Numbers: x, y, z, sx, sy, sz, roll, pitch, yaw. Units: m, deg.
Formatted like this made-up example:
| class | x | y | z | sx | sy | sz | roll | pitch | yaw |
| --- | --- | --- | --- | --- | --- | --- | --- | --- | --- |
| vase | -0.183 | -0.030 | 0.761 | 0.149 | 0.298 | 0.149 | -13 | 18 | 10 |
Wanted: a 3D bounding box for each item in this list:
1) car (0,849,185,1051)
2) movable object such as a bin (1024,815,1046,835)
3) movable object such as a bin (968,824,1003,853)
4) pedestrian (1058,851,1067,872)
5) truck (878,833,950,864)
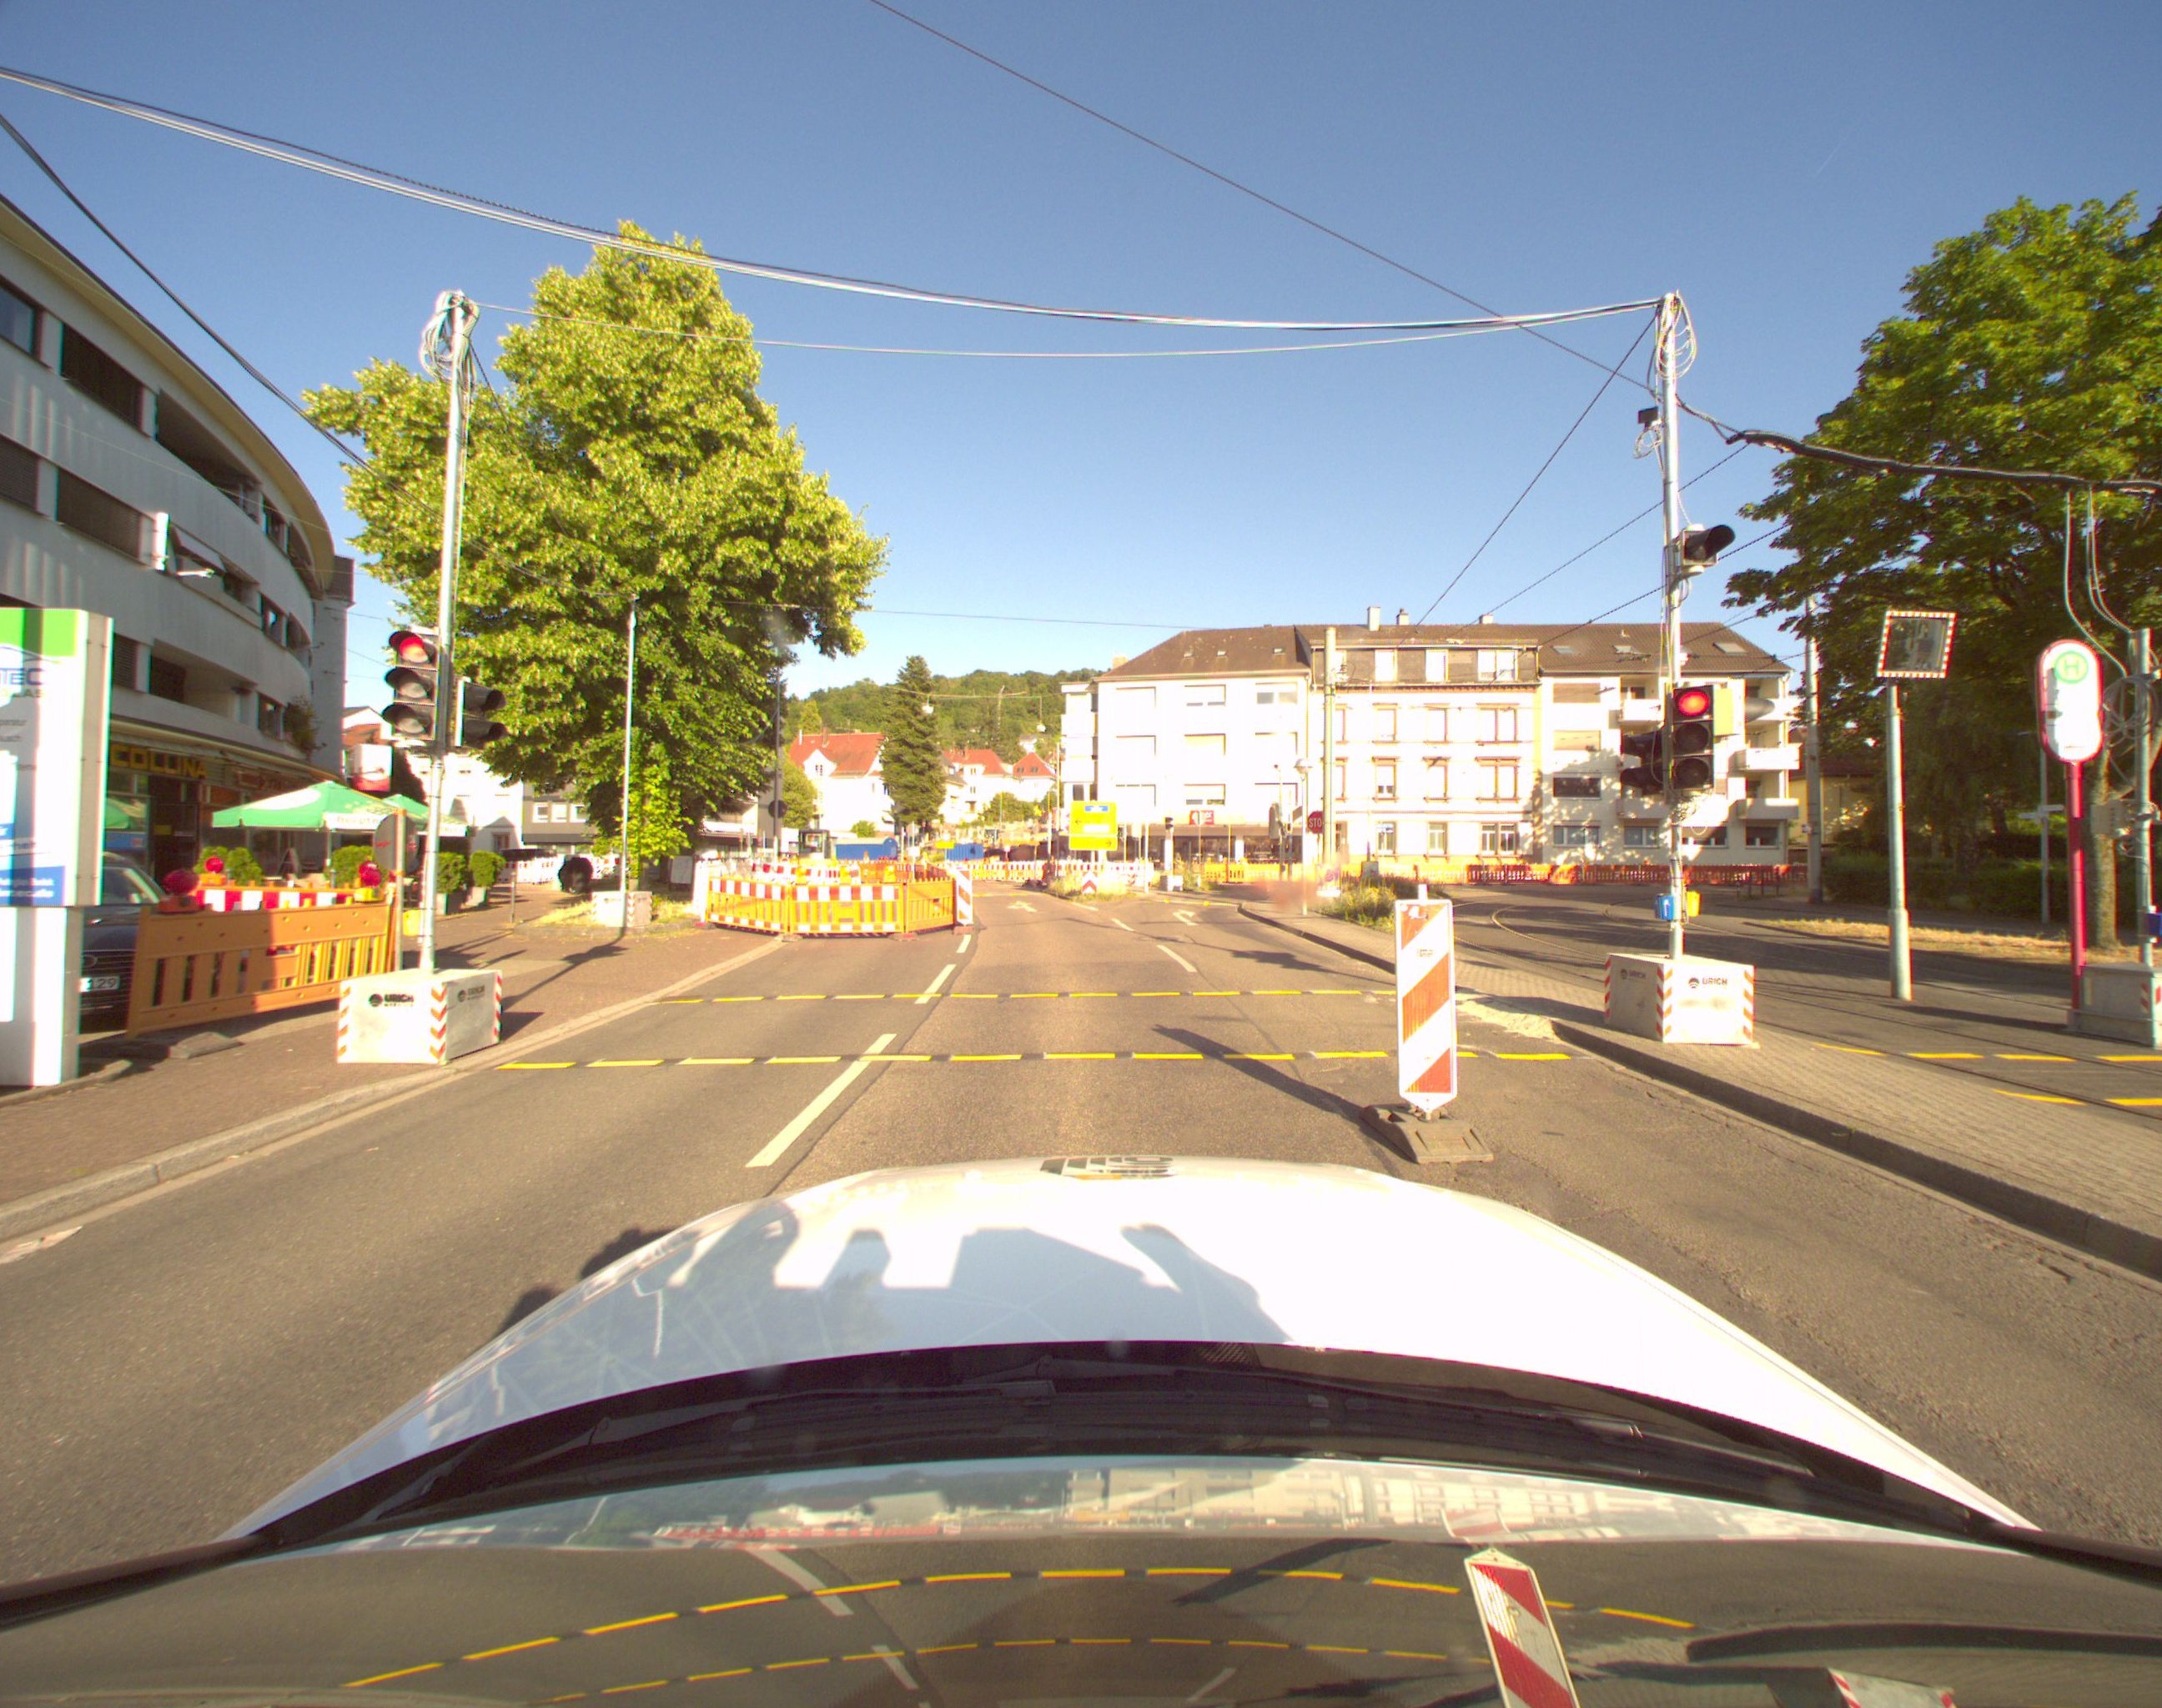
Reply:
| class | x | y | z | sx | sy | sz | roll | pitch | yaw |
| --- | --- | --- | --- | --- | --- | --- | --- | --- | --- |
| car | -9.605 | 0.711 | 7.528 | 4.246 | 1.454 | 1.660 | 1 | 0 | 43 |
| movable object such as a bin | -6.435 | -4.030 | 114.189 | 2.176 | 2.690 | 4.013 | 0 | 0 | 12 |
| movable object such as a bin | -9.314 | -1.476 | 79.766 | 2.176 | 2.690 | 4.013 | 0 | 0 | 12 |
| pedestrian | -1.498 | 0.608 | 65.958 | 0.638 | 1.760 | 0.718 | 0 | 0 | 2 |
| truck | -13.993 | -0.435 | 69.170 | 2.340 | 2.416 | 9.184 | 0 | 0 | 13 |
